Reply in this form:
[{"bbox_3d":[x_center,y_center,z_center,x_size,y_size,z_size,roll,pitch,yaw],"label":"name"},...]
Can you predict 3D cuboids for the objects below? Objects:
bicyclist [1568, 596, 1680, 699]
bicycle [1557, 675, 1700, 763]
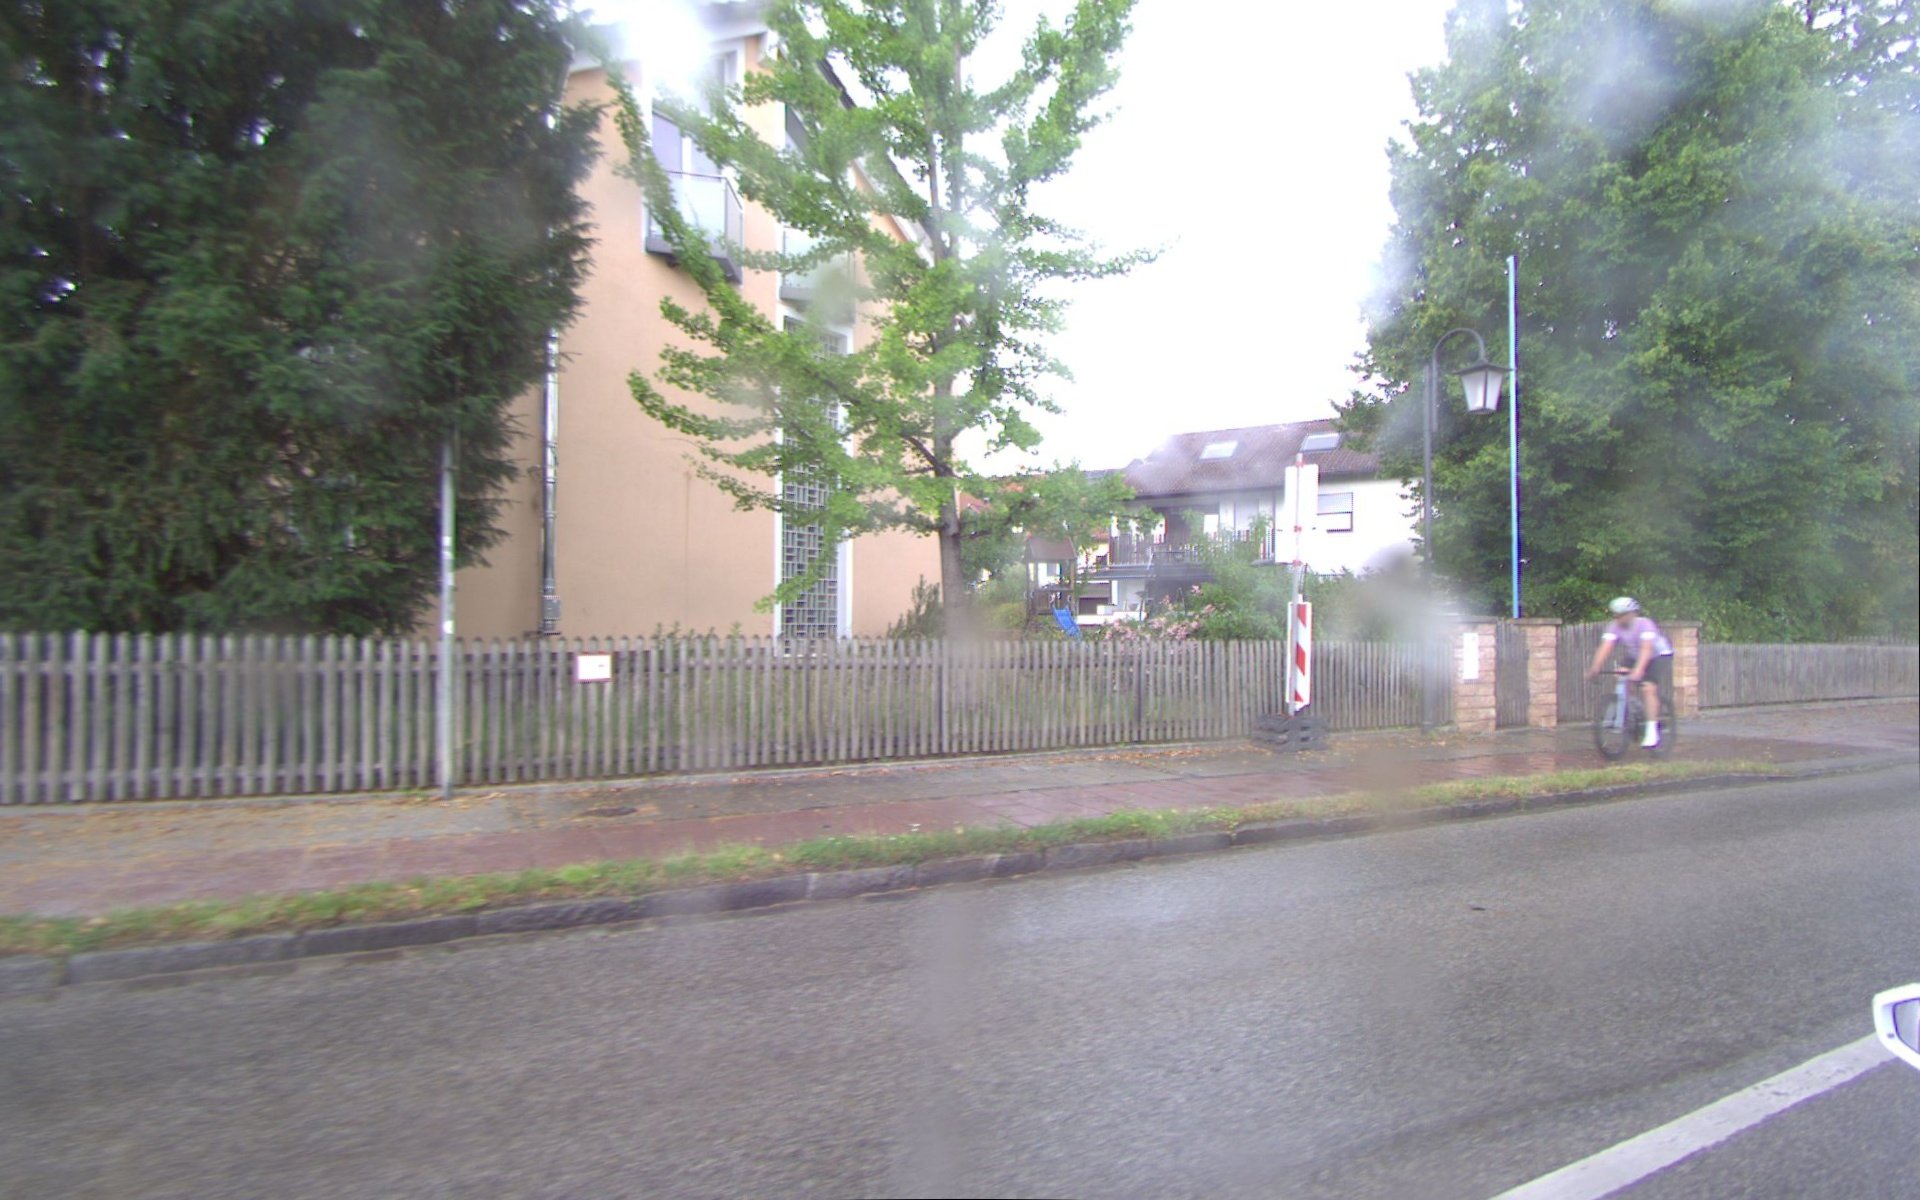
[{"bbox_3d":[7.016,0.490,10.613,1.048,1.035,0.584,1,0,-30],"label":"bicyclist"},{"bbox_3d":[7.130,1.235,10.678,1.954,0.809,0.454,2,-1,-31],"label":"bicycle"}]
